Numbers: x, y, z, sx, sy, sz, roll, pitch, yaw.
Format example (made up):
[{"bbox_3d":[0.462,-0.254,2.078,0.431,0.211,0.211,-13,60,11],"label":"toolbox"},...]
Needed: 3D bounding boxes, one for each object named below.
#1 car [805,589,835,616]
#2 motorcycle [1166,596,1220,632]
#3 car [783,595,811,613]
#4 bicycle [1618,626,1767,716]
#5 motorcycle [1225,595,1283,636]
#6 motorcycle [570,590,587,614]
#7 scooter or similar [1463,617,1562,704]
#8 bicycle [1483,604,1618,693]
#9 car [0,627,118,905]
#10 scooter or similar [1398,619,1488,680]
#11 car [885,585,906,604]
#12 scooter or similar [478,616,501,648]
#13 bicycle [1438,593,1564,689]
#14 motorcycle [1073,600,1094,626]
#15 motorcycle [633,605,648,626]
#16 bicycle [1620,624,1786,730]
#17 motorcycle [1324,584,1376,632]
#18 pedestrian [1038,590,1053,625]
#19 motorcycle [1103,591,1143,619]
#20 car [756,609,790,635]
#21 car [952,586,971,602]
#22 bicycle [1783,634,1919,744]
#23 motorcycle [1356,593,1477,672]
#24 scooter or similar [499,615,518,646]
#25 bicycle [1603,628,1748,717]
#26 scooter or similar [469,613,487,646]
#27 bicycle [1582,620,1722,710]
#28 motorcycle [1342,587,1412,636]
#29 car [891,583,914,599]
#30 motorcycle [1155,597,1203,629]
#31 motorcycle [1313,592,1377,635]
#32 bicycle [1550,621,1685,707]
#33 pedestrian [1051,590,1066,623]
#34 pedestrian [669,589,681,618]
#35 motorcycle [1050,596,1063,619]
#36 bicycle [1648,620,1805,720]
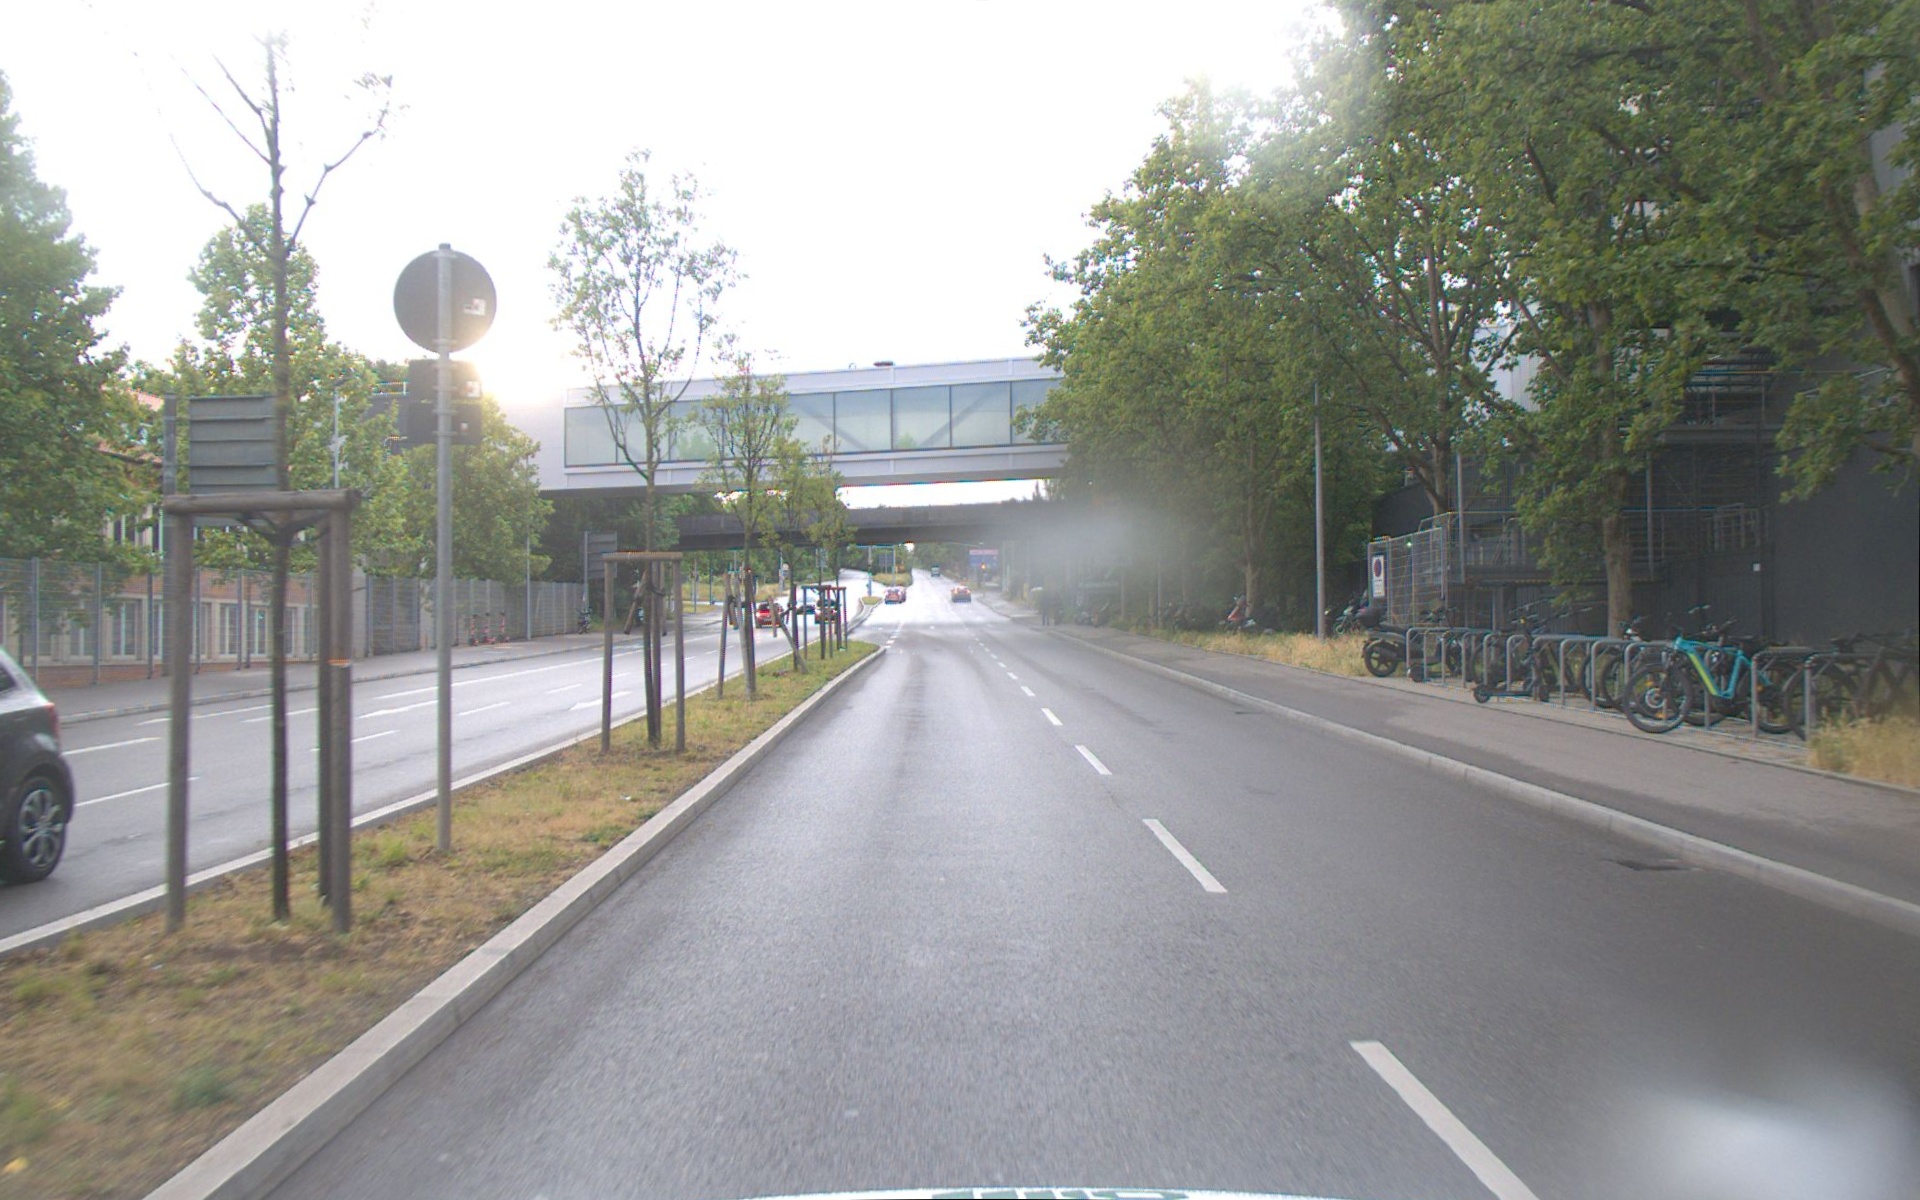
[{"bbox_3d":[-8.909,0.177,105.298,1.553,1.633,3.854,-3,0,-1],"label":"car"},{"bbox_3d":[8.224,0.502,58.274,1.819,1.212,0.519,-1,0,-17],"label":"motorcycle"},{"bbox_3d":[-13.352,0.324,135.683,2.022,1.385,4.754,-2,0,-3],"label":"car"},{"bbox_3d":[8.400,0.807,18.979,1.520,0.975,0.393,-2,0,-2],"label":"bicycle"},{"bbox_3d":[8.577,0.445,48.262,1.618,1.170,0.493,1,-1,7],"label":"motorcycle"},{"bbox_3d":[-19.891,0.106,86.294,0.459,1.226,1.996,-1,1,-1],"label":"motorcycle"},{"bbox_3d":[7.332,0.797,21.954,1.189,1.110,0.312,-2,0,-6],"label":"scooter or similar"},{"bbox_3d":[8.305,0.676,23.281,1.754,1.187,0.447,-2,0,-7],"label":"bicycle"},{"bbox_3d":[-5.779,0.892,7.771,1.545,1.428,4.110,-2,0,-1],"label":"car"},{"bbox_3d":[7.978,0.811,27.304,1.450,0.953,0.364,-2,0,-19],"label":"scooter or similar"},{"bbox_3d":[-6.439,-0.556,164.412,2.035,1.748,4.195,1,-1,-3],"label":"car"},{"bbox_3d":[-18.884,1.276,66.402,0.305,1.239,1.309,-1,0,11],"label":"scooter or similar"},{"bbox_3d":[8.197,0.609,25.066,1.826,1.372,0.446,-2,0,-14],"label":"bicycle"},{"bbox_3d":[6.192,0.648,83.057,0.461,1.234,1.938,-1,0,-13],"label":"motorcycle"},{"bbox_3d":[-19.468,0.936,100.821,0.459,1.179,1.933,-1,1,2],"label":"motorcycle"},{"bbox_3d":[7.646,0.787,17.037,1.520,1.022,0.393,-2,0,-2],"label":"bicycle"},{"bbox_3d":[11.664,0.239,49.493,0.502,1.389,1.479,2,-1,-43],"label":"motorcycle"},{"bbox_3d":[4.321,0.360,83.653,0.598,1.751,0.892,-1,0,9],"label":"pedestrian"},{"bbox_3d":[7.991,0.260,81.016,1.904,1.320,0.546,-2,0,34],"label":"motorcycle"},{"bbox_3d":[-11.345,1.339,100.404,1.681,1.462,3.770,-3,0,-2],"label":"car"},{"bbox_3d":[0.118,-0.623,164.034,1.709,1.495,4.165,0,1,-2],"label":"car"},{"bbox_3d":[8.484,0.810,15.254,1.575,0.956,0.387,-2,-1,-1],"label":"bicycle"},{"bbox_3d":[7.915,0.566,28.712,1.966,1.295,0.442,-2,0,11],"label":"motorcycle"},{"bbox_3d":[-18.855,1.255,69.083,0.305,1.239,1.308,-1,0,4],"label":"scooter or similar"},{"bbox_3d":[8.389,0.841,19.404,1.520,0.975,0.393,-2,0,-2],"label":"bicycle"},{"bbox_3d":[-18.769,1.134,64.391,0.305,1.239,1.307,-1,0,-1],"label":"scooter or similar"},{"bbox_3d":[8.379,0.780,20.040,1.520,1.022,0.393,-2,0,-2],"label":"bicycle"},{"bbox_3d":[11.977,0.331,47.526,1.891,1.389,0.505,1,-1,-6],"label":"motorcycle"},{"bbox_3d":[-6.109,-0.928,175.865,2.121,1.610,4.664,1,-1,1],"label":"car"},{"bbox_3d":[8.929,0.516,67.341,1.819,1.274,0.627,-1,0,-17],"label":"motorcycle"},{"bbox_3d":[11.990,0.422,51.519,1.874,1.279,0.491,1,-1,5],"label":"motorcycle"},{"bbox_3d":[8.286,0.803,20.858,1.520,1.022,0.393,-2,0,-2],"label":"bicycle"},{"bbox_3d":[4.975,0.314,83.504,0.636,1.624,0.579,-1,0,10],"label":"pedestrian"},{"bbox_3d":[-18.553,0.228,107.667,0.508,1.847,0.800,0,0,9],"label":"pedestrian"},{"bbox_3d":[4.866,0.369,83.600,0.460,1.156,1.818,-1,0,-2],"label":"motorcycle"},{"bbox_3d":[8.360,0.756,18.056,1.520,1.022,0.393,-2,0,-2],"label":"bicycle"}]
